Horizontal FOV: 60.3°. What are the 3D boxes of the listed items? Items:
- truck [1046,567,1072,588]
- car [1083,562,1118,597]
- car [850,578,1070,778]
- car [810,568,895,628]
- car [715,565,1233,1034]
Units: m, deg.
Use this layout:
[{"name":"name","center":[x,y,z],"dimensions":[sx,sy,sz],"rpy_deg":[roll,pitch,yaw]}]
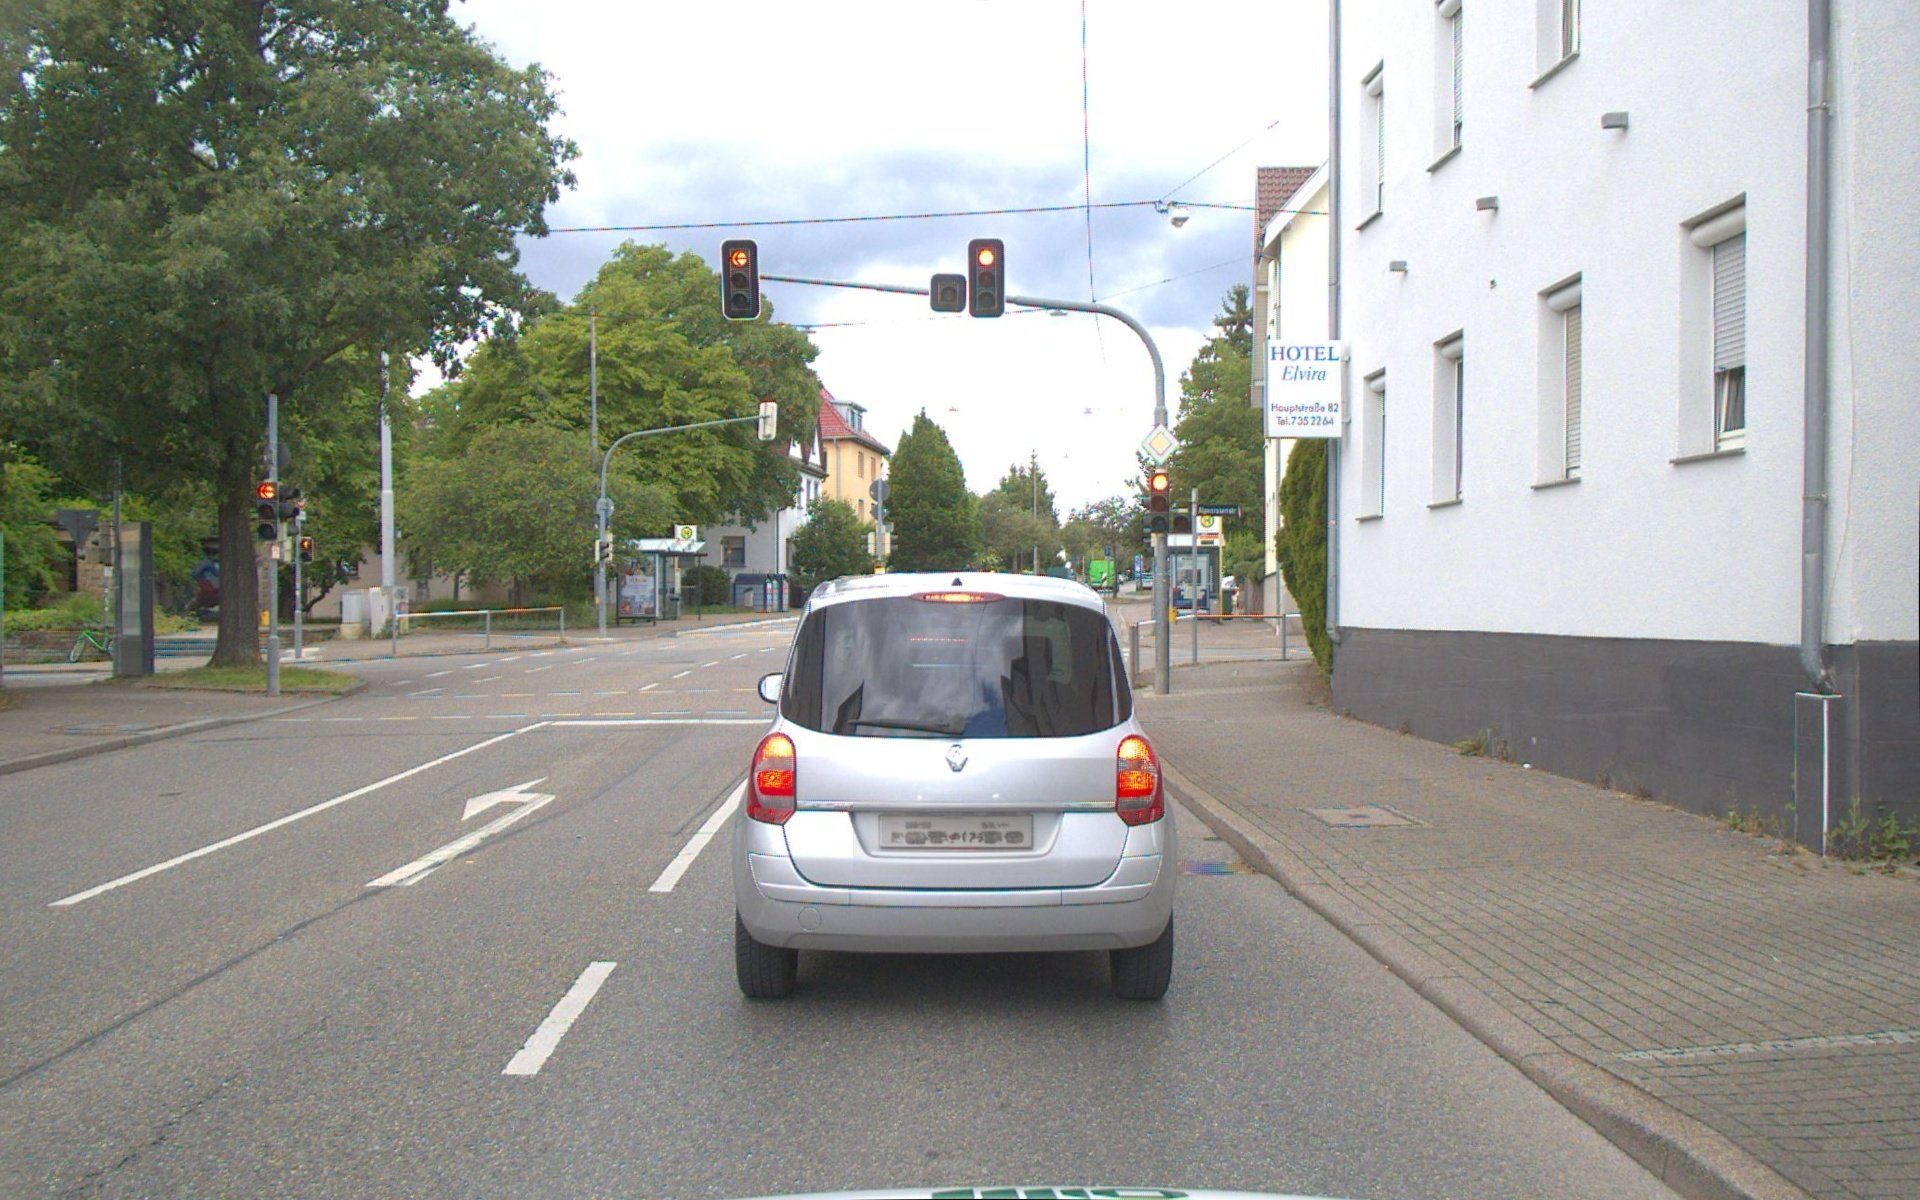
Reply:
[{"name":"truck","center":[10.074,-2.262,167.961],"dimensions":[2.056,2.049,5.752],"rpy_deg":[1,0,9]},{"name":"car","center":[10.626,-1.541,124.833],"dimensions":[2.015,2.556,5.600],"rpy_deg":[1,0,11]},{"name":"car","center":[-0.036,0.612,14.893],"dimensions":[1.719,1.557,3.796],"rpy_deg":[1,0,-1]},{"name":"car","center":[-3.558,-0.090,55.407],"dimensions":[1.885,1.804,4.004],"rpy_deg":[-4,0,9]},{"name":"car","center":[0.009,0.667,7.527],"dimensions":[1.719,1.557,3.999],"rpy_deg":[1,0,-1]}]
